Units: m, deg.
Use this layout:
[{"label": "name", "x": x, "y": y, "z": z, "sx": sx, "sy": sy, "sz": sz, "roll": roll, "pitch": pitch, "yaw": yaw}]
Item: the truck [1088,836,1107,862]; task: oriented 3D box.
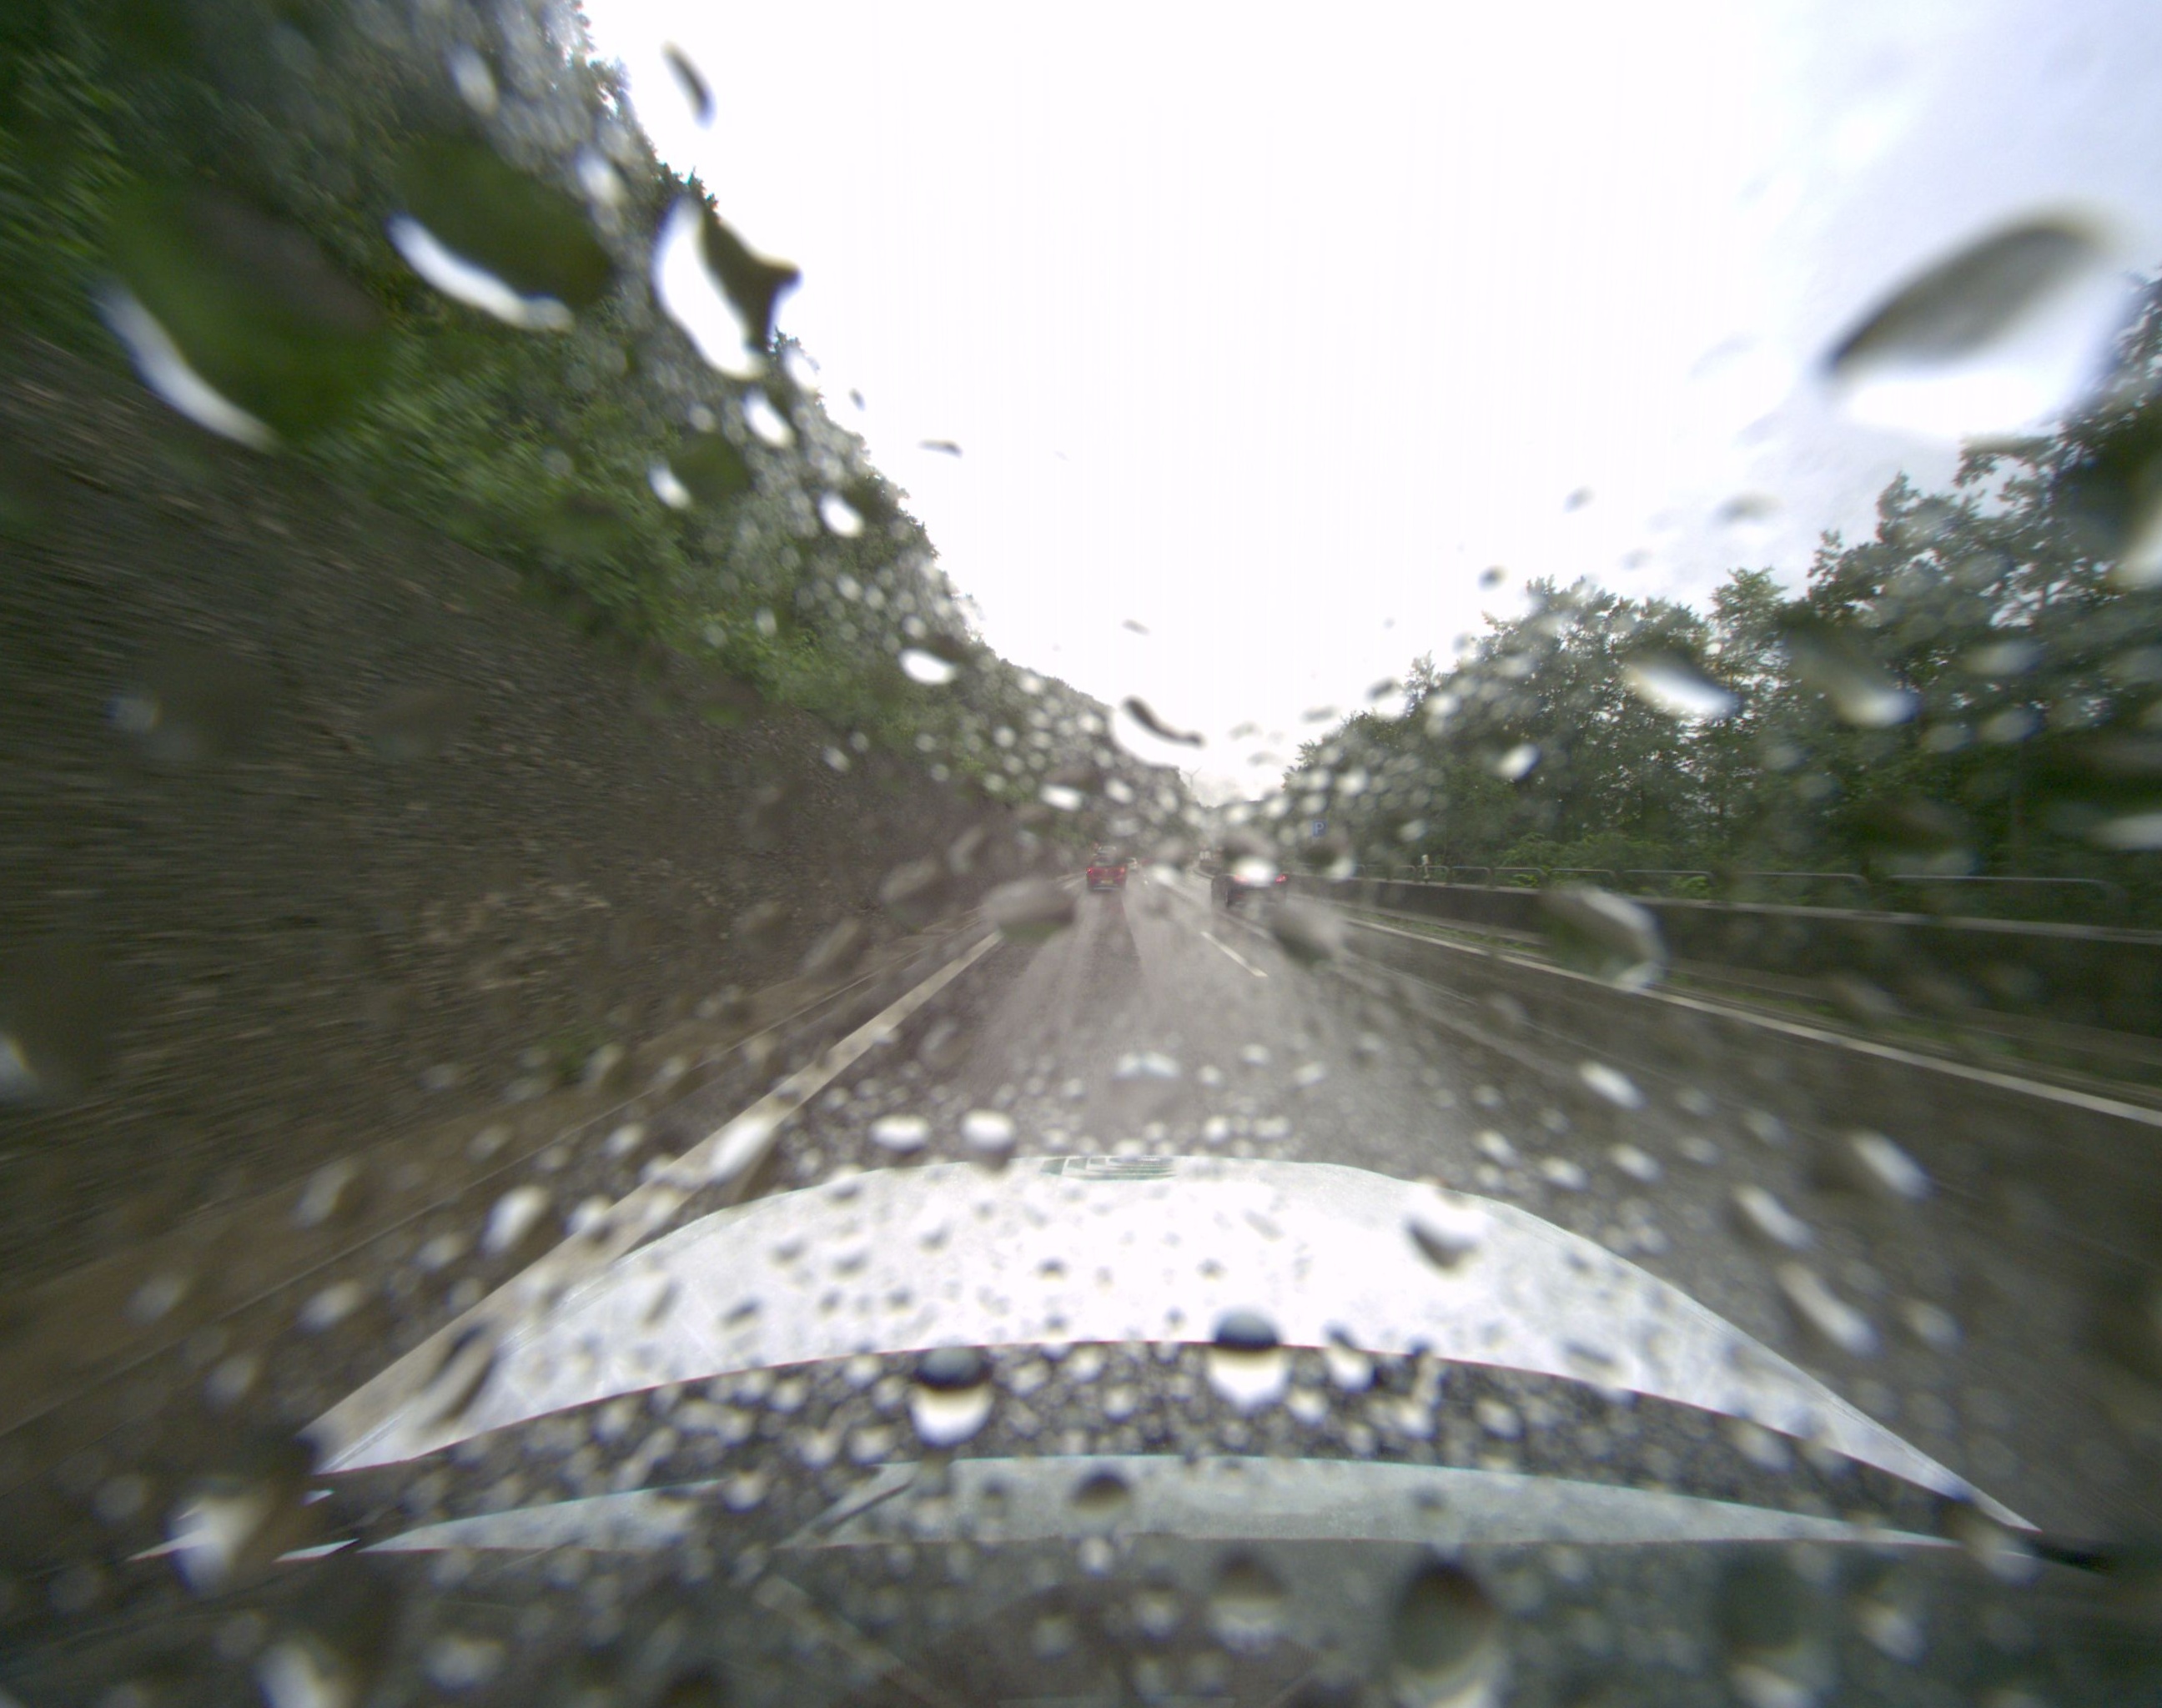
[{"label": "truck", "x": 1.867, "y": -0.550, "z": 90.556, "sx": 1.986, "sy": 2.751, "sz": 5.588, "roll": -1, "pitch": 0, "yaw": 2}]

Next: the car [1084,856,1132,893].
[{"label": "car", "x": 1.151, "y": 0.879, "z": 36.584, "sx": 1.987, "sy": 1.552, "sz": 3.999, "roll": -1, "pitch": 0, "yaw": 0}]

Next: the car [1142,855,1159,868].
[{"label": "car", "x": 10.075, "y": 1.113, "z": 117.794, "sx": 1.854, "sy": 1.695, "sz": 4.013, "roll": -3, "pitch": -2, "yaw": 12}]

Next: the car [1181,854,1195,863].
[{"label": "car", "x": 19.642, "y": 0.849, "z": 149.482, "sx": 1.810, "sy": 1.719, "sz": 4.019, "roll": -1, "pitch": 0, "yaw": 18}]

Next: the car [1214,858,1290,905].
[{"label": "car", "x": 5.231, "y": 0.810, "z": 25.328, "sx": 1.792, "sy": 1.307, "sz": 4.005, "roll": -1, "pitch": 0, "yaw": 4}]

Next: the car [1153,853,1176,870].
[{"label": "car", "x": 7.921, "y": 0.743, "z": 77.646, "sx": 1.985, "sy": 1.552, "sz": 4.003, "roll": -1, "pitch": 0, "yaw": 3}]

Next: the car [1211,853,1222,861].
[{"label": "car", "x": 33.237, "y": 0.674, "z": 199.292, "sx": 2.435, "sy": 2.013, "sz": 4.746, "roll": -1, "pitch": 0, "yaw": 7}]

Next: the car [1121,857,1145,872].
[{"label": "car", "x": 4.655, "y": 0.917, "z": 72.913, "sx": 1.986, "sy": 1.354, "sz": 4.002, "roll": -1, "pitch": 0, "yaw": 2}]
